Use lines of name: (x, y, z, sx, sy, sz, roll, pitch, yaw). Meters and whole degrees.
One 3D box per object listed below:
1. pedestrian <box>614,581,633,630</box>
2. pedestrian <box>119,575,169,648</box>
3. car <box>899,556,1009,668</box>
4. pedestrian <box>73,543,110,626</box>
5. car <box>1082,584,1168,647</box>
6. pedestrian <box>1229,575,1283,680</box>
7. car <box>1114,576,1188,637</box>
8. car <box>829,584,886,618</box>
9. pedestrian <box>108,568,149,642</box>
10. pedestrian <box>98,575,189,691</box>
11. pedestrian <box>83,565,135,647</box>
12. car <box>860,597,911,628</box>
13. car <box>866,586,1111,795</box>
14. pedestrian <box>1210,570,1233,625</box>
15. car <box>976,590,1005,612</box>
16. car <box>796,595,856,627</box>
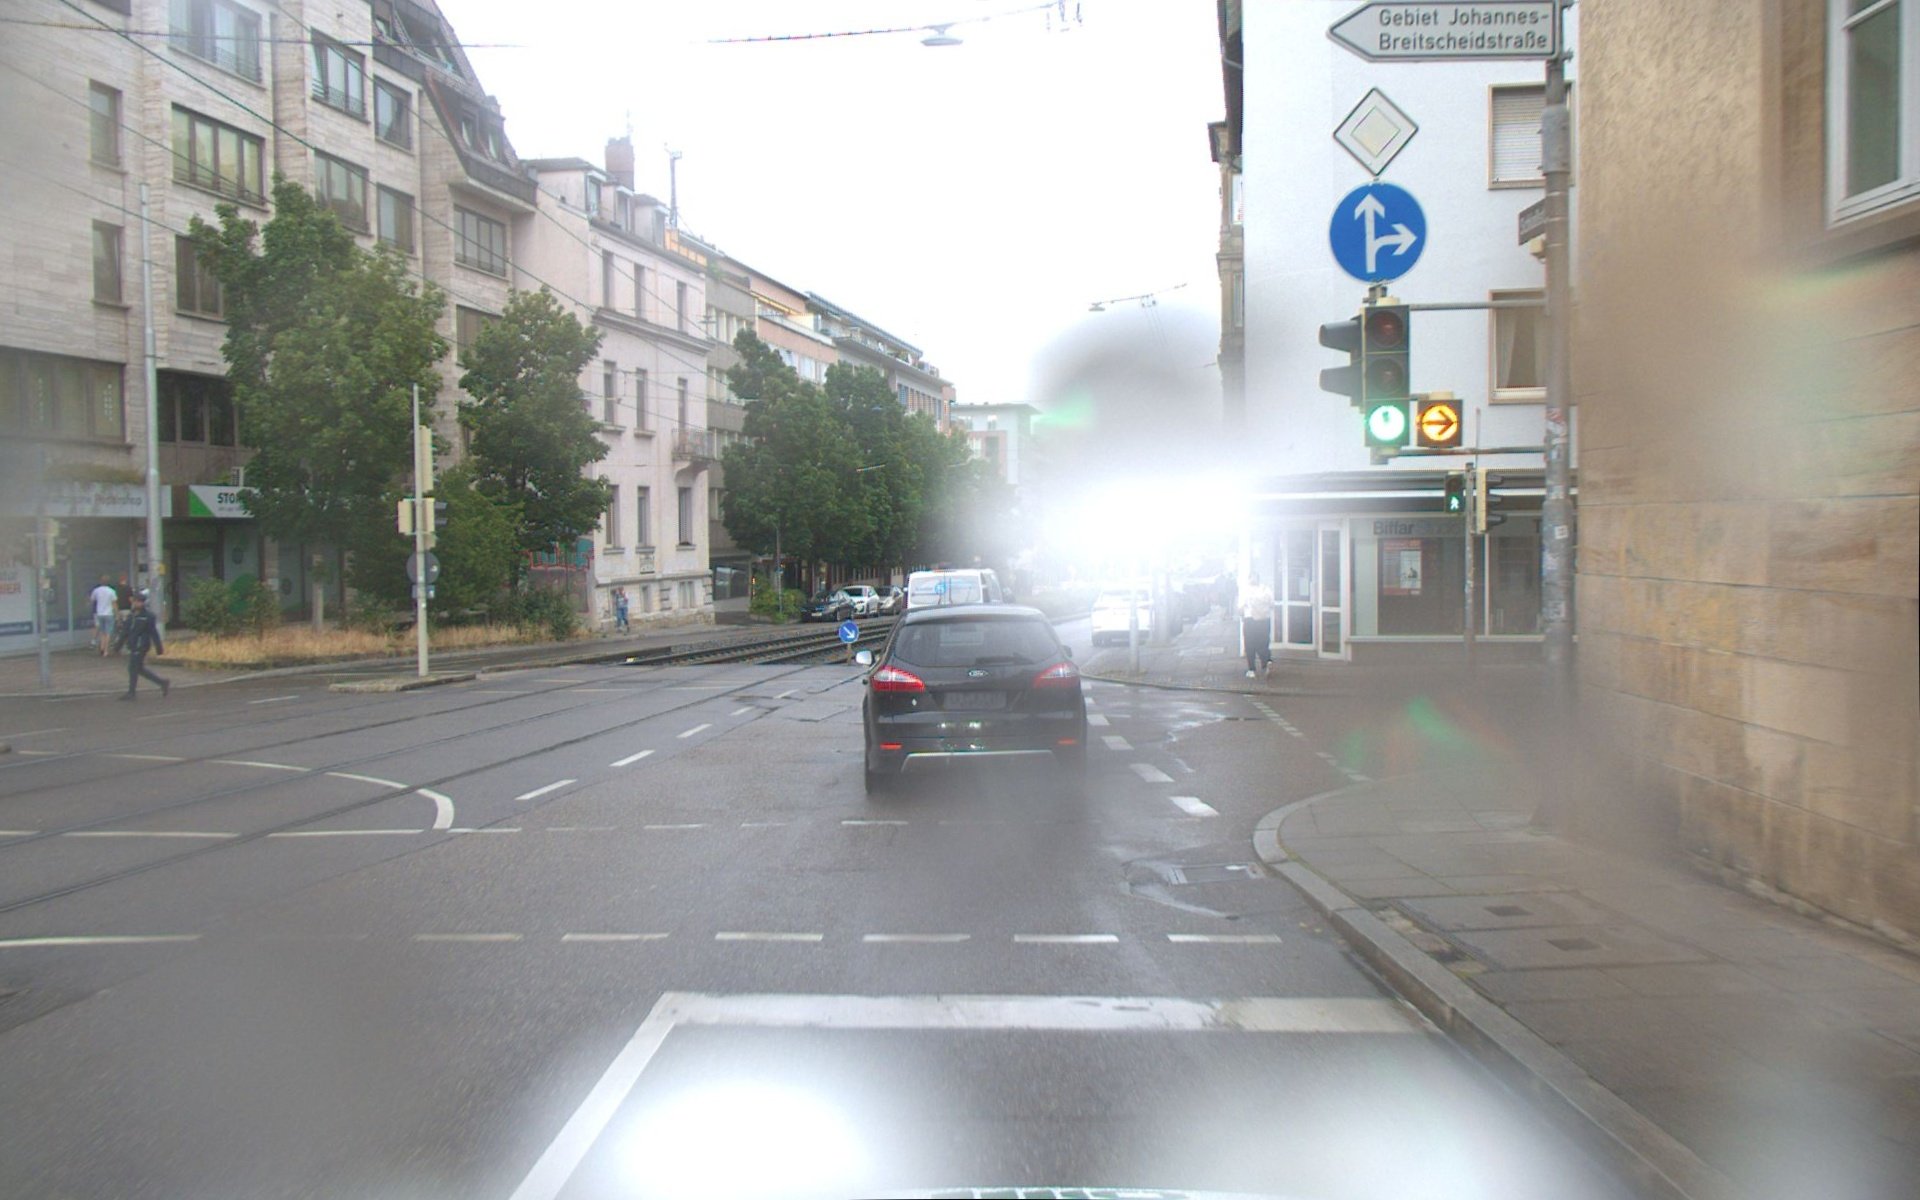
pedestrian: (-11.826, 0.195, 58.174, 0.458, 1.681, 0.582, 3, -1, -2)
pedestrian: (-18.018, 0.260, 36.535, 0.634, 1.576, 0.684, 3, -1, 8)
car: (-0.045, 0.196, 33.759, 1.947, 2.096, 4.647, 1, 1, 3)
pedestrian: (-20.065, -0.360, 38.218, 0.640, 1.874, 0.677, 4, -1, -28)
car: (4.146, 0.407, 41.107, 1.763, 1.481, 4.590, 0, -1, 10)
pedestrian: (4.556, 0.424, 25.501, 0.674, 1.599, 0.763, 0, -1, -1)
car: (5.579, 0.218, 47.843, 1.806, 1.661, 4.590, 1, -1, 10)
car: (-5.219, 0.076, 84.885, 1.816, 1.576, 4.724, 2, -1, 10)
pedestrian: (-18.723, 0.125, 37.245, 0.493, 1.625, 0.586, 3, -1, 8)
pedestrian: (-13.713, 0.559, 27.809, 0.911, 1.861, 0.960, 3, -1, 2)
pedestrian: (-18.766, 0.131, 36.477, 0.634, 1.754, 0.684, 3, -1, 8)
car: (-4.082, 0.715, 91.172, 1.816, 1.576, 4.434, 2, -1, 10)
car: (0.205, 0.705, 14.212, 1.805, 1.533, 3.999, 0, -1, 0)
pedestrian: (8.936, -0.085, 56.548, 0.688, 1.851, 0.962, -2, 1, 10)
car: (2.424, 0.085, 130.817, 1.659, 1.601, 4.049, 2, -1, 10)
car: (-6.337, 0.542, 78.722, 1.657, 1.402, 4.724, 2, -1, 10)
